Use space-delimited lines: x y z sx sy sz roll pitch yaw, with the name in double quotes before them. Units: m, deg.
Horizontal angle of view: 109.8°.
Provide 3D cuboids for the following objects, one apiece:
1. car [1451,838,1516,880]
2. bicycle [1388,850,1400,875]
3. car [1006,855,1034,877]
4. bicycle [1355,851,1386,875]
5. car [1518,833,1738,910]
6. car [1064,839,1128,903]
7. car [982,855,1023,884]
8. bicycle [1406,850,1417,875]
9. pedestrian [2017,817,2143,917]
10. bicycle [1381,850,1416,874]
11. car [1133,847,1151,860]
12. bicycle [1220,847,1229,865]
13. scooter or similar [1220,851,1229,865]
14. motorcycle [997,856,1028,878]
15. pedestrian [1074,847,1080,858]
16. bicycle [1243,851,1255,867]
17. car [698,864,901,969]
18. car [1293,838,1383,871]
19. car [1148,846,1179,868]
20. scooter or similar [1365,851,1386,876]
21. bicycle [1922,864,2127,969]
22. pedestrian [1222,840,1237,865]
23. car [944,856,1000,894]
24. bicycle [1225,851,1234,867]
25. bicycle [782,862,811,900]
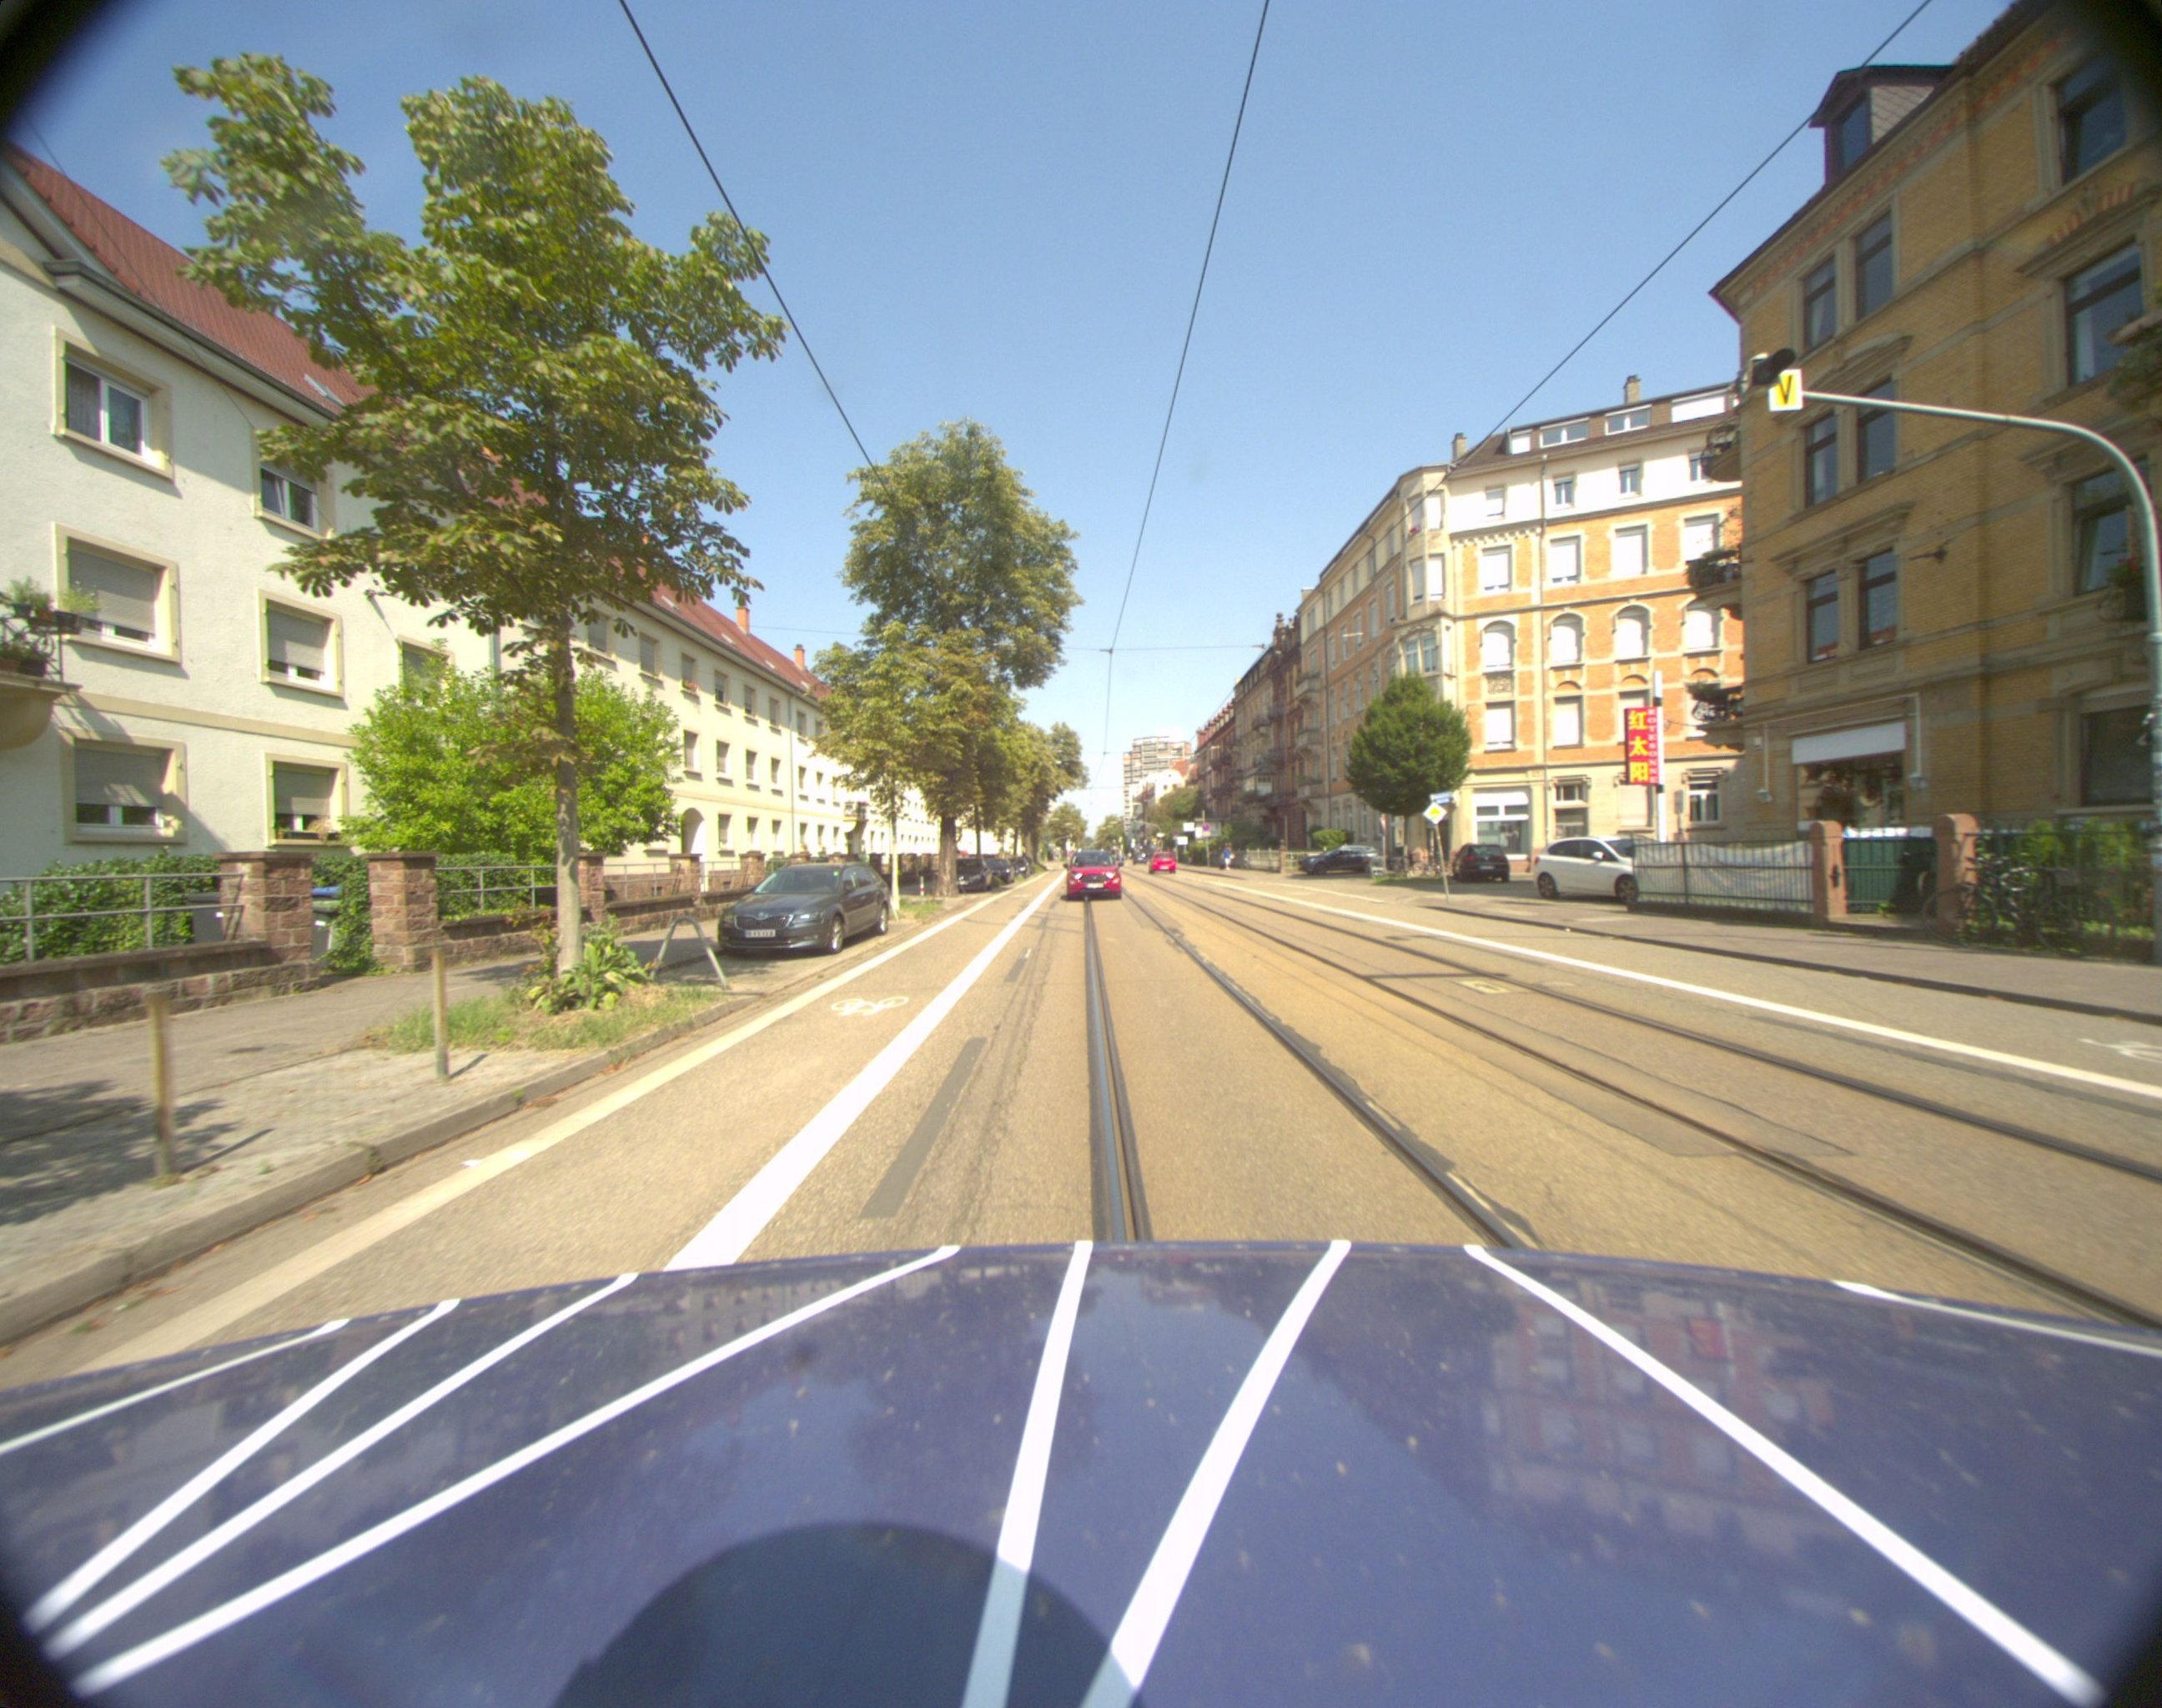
"car" 17.264 0.198 32.786 1.995 1.679 4.366 -1 0 21
"bicycle" 14.159 0.387 34.318 0.389 1.092 1.454 -2 0 26
"car" -4.335 0.821 54.065 1.621 1.468 4.039 0 0 1
"bicycle" 13.599 0.433 35.708 1.453 1.092 0.390 -2 0 -22
"car" 12.815 0.350 18.225 1.999 1.585 4.358 -1 0 -3
"car" 0.469 0.518 24.498 1.803 1.801 4.416 -2 0 1
"car" -4.379 0.826 43.072 1.760 1.469 4.457 2 1 0
"bicycle" 14.767 0.373 33.939 0.389 1.092 1.454 -2 0 26
"pedestrian" 15.766 0.192 12.013 0.870 1.502 0.885 -1 1 -8
"bicycle" 15.073 0.381 36.098 1.449 1.092 0.391 -2 0 11
"car" 7.655 -0.030 95.645 1.832 1.531 4.000 -1 0 0
"bicycle" 11.451 0.166 60.704 0.391 1.397 1.582 -2 0 1
"scooter or similar" 10.295 0.283 54.583 0.401 0.977 0.584 -3 1 -8
"motorcycle" -4.509 0.837 50.015 2.009 1.360 0.782 -1 1 -2
"pedestrian" -0.683 -0.229 126.511 0.676 1.874 0.921 -1 0 -19
"bicycle" 11.271 0.317 50.999 0.391 1.032 1.833 -2 0 1
"car" -4.837 0.985 13.927 1.897 1.468 4.840 -1 0 0
"car" 13.569 0.014 40.310 4.111 1.585 1.879 -2 1 2
"car" 5.794 0.228 53.610 1.736 1.481 4.000 -1 0 0
"scooter or similar" 13.307 0.437 34.370 0.597 1.092 1.390 -2 0 11
"bicycle" 10.878 0.674 8.846 0.391 1.092 1.568 -2 0 -2
"pedestrian" 10.583 -0.089 54.157 0.885 1.746 0.870 -1 1 0
"car" -4.565 0.848 32.426 1.760 1.468 4.386 -1 0 0
"bicycle" 11.127 0.382 56.981 0.391 1.141 1.582 -2 0 1
"bicycle" -9.968 0.929 26.649 0.403 1.250 1.580 -1 1 1
